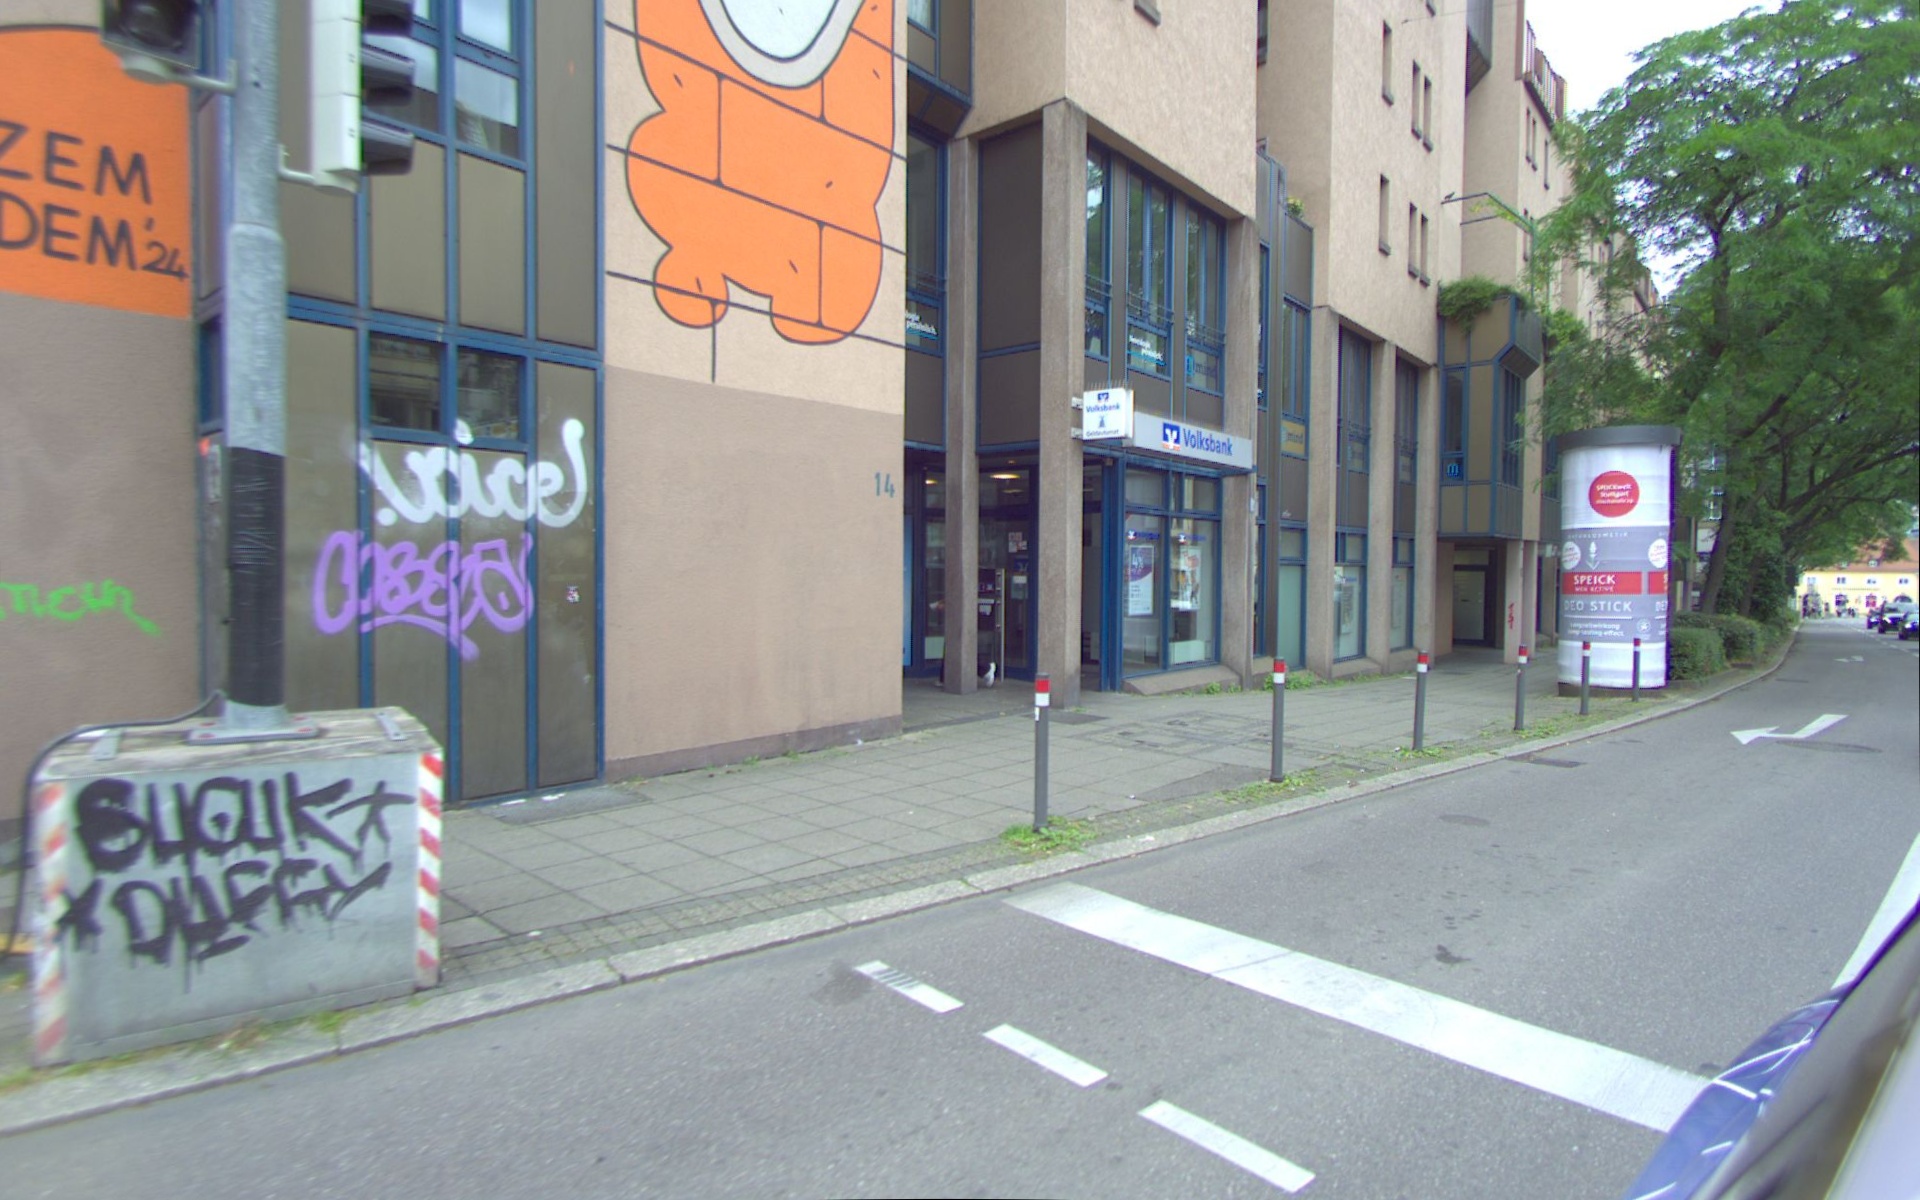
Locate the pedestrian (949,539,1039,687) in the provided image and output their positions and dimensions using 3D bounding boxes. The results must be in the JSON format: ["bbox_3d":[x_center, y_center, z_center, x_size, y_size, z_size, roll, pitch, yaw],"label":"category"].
[{"bbox_3d":[0.415,0.146,12.500,0.781,1.743,0.770,1,0,-45],"label":"pedestrian"}]

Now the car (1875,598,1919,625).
[{"bbox_3d":[56.202,0.676,60.517,3.935,1.549,1.946,0,0,-45],"label":"car"}]

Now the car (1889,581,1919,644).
[{"bbox_3d":[35.483,0.425,36.437,5.629,2.184,2.500,0,0,-42],"label":"car"}]

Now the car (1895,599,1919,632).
[{"bbox_3d":[47.619,0.741,49.965,3.935,1.549,1.946,0,0,-45],"label":"car"}]

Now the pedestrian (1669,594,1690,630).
[{"bbox_3d":[35.397,0.601,49.793,0.676,1.733,0.710,2,0,-42],"label":"pedestrian"}]
